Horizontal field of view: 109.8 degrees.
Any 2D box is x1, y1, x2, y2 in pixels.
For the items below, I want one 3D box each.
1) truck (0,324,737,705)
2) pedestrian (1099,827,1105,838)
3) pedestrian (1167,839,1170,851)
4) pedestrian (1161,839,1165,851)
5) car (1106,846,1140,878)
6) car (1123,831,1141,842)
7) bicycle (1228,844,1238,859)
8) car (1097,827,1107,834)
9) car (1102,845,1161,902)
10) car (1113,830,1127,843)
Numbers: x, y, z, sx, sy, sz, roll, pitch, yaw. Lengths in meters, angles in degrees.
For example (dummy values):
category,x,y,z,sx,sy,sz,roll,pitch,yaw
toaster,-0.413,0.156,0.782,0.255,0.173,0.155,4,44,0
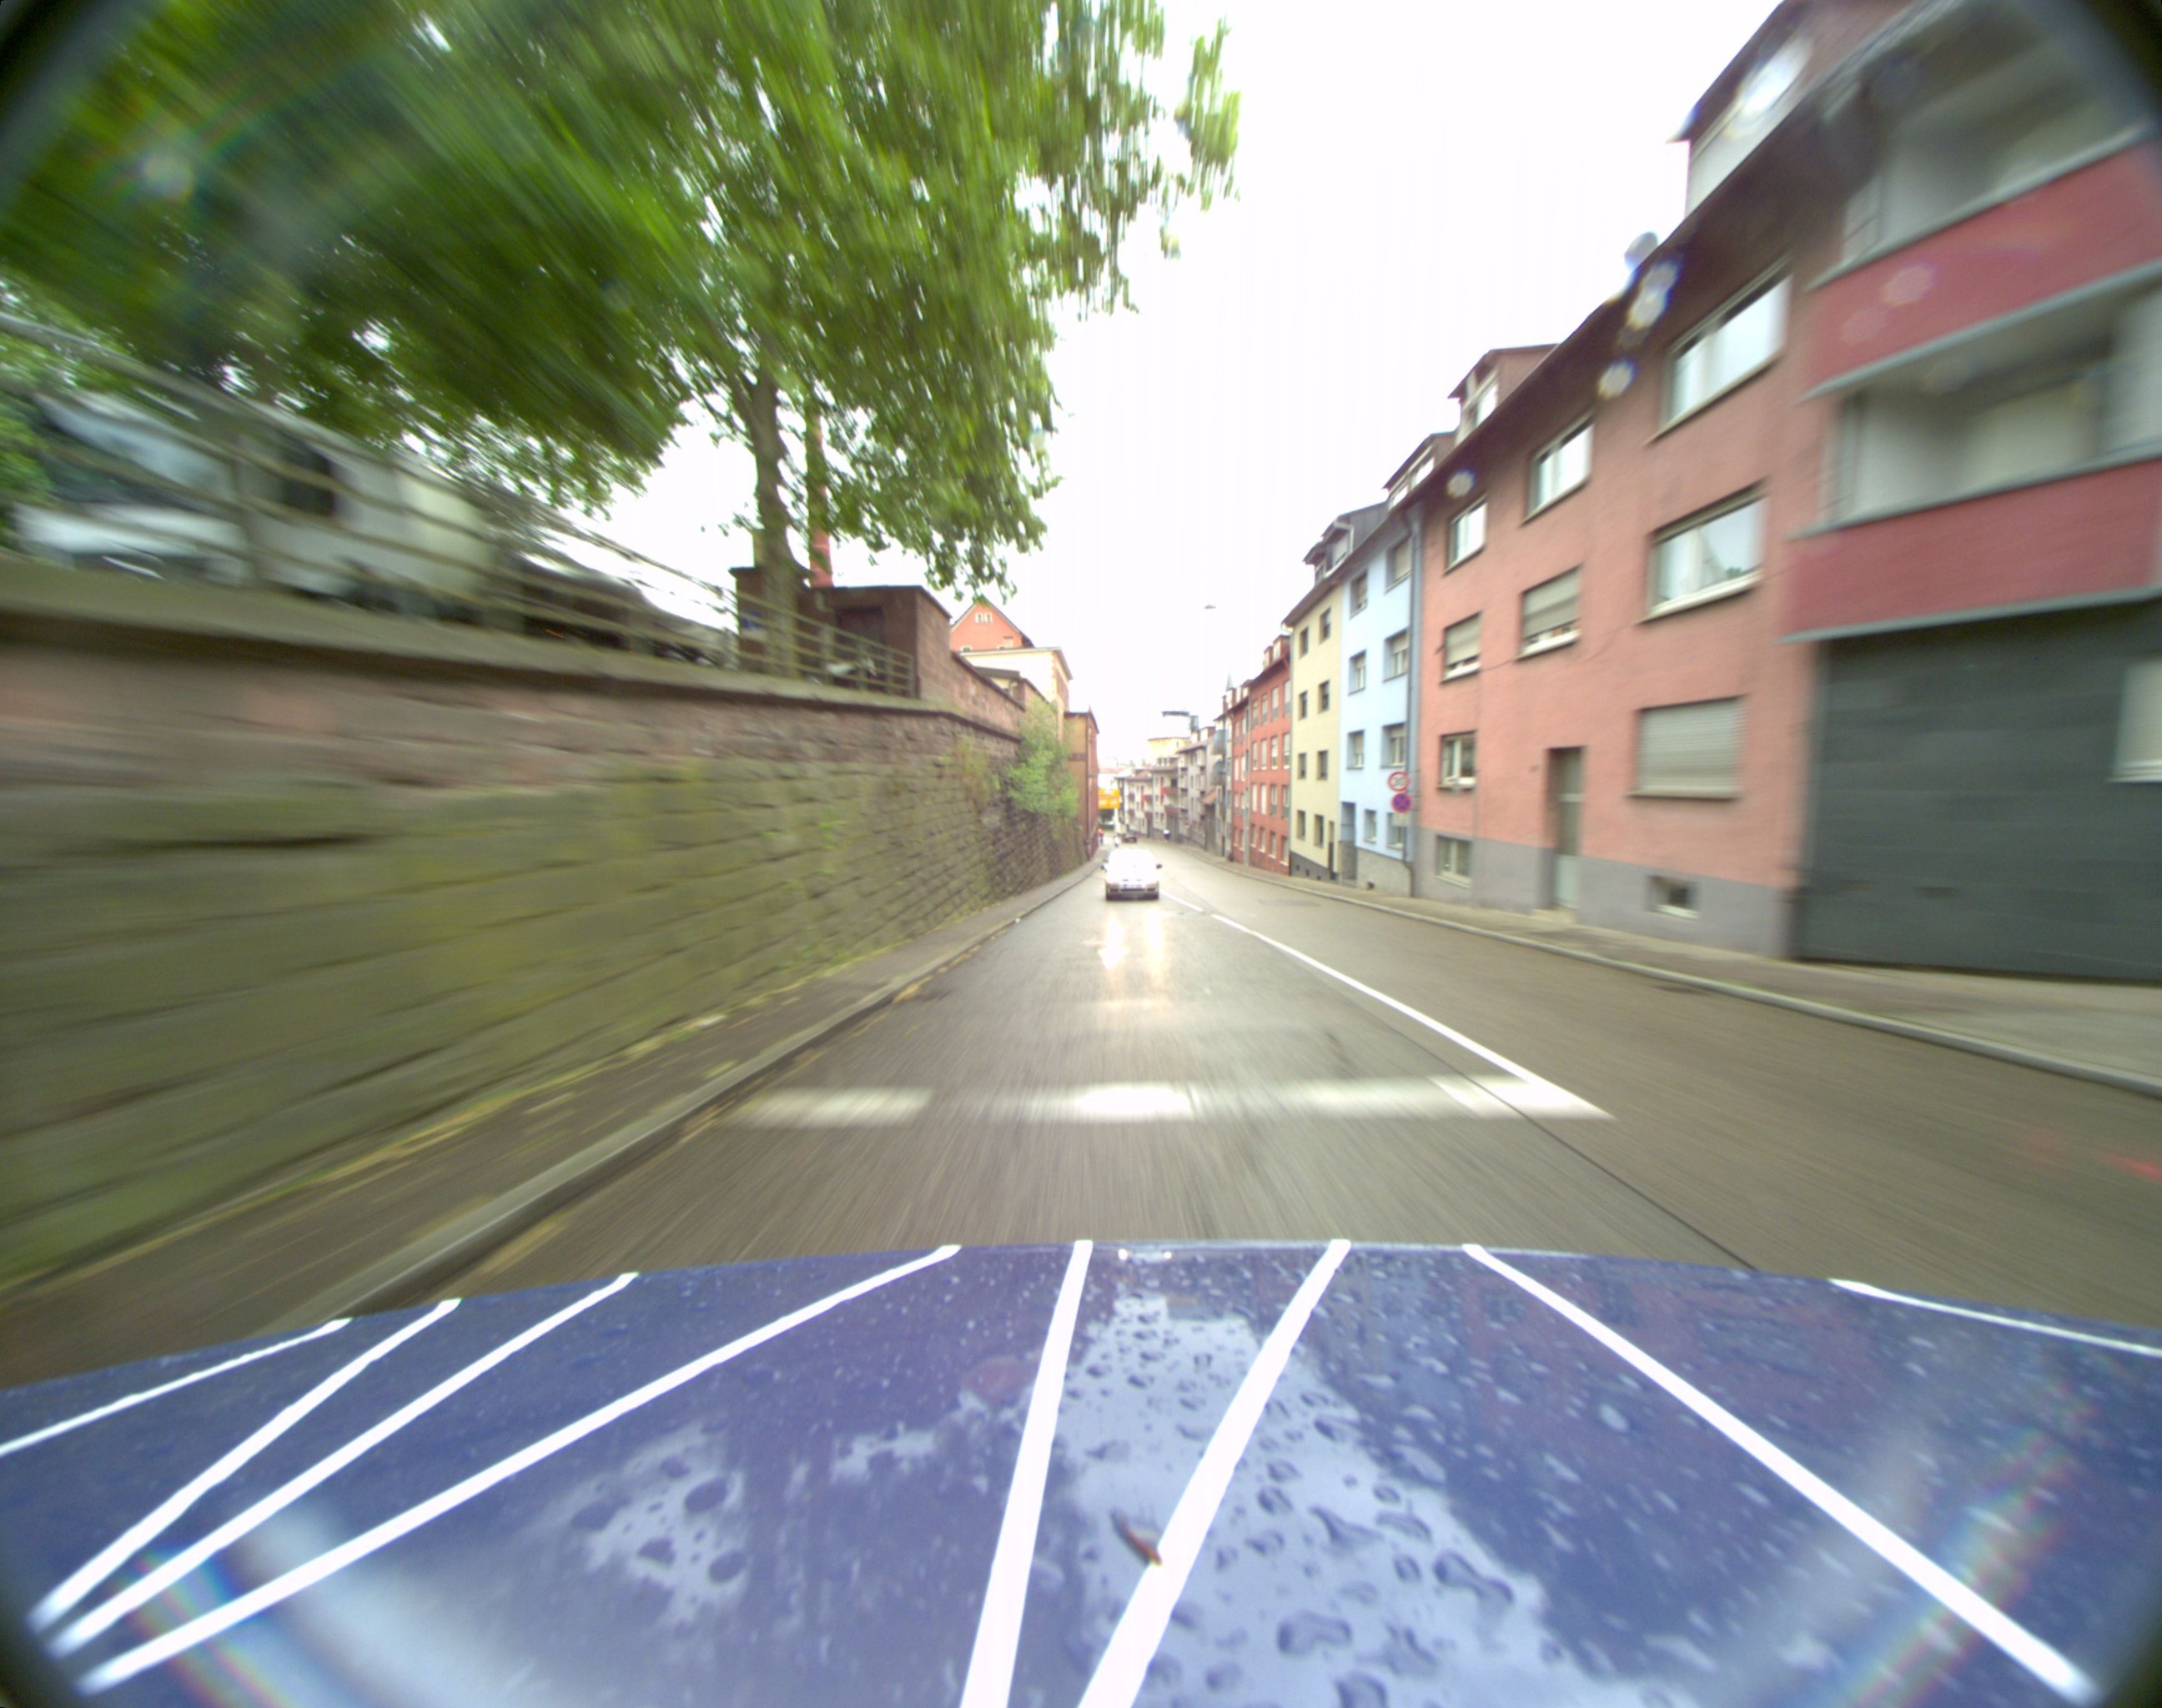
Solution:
category,x,y,z,sx,sy,sz,roll,pitch,yaw
truck,-9.596,-4.292,12.863,2.755,3.296,11.205,1,11,-3
pedestrian,3.067,-3.206,111.245,0.871,1.532,1.087,-2,0,1
pedestrian,12.677,-1.305,110.366,0.355,1.770,0.499,-2,3,-6
pedestrian,11.882,-1.271,110.280,0.386,1.770,0.499,-2,3,-6
car,2.342,0.416,42.330,1.719,1.528,3.999,-2,3,3
car,7.615,-2.570,113.273,2.000,1.470,3.996,2,3,-6
bicycle,12.291,-0.177,61.446,0.572,1.111,2.039,-3,2,5
car,4.454,-4.926,159.930,1.714,1.317,3.367,-2,3,-6
car,1.644,0.559,24.940,1.719,1.528,3.999,-2,3,3
car,5.220,-2.330,101.874,1.637,1.521,4.000,-2,1,1
